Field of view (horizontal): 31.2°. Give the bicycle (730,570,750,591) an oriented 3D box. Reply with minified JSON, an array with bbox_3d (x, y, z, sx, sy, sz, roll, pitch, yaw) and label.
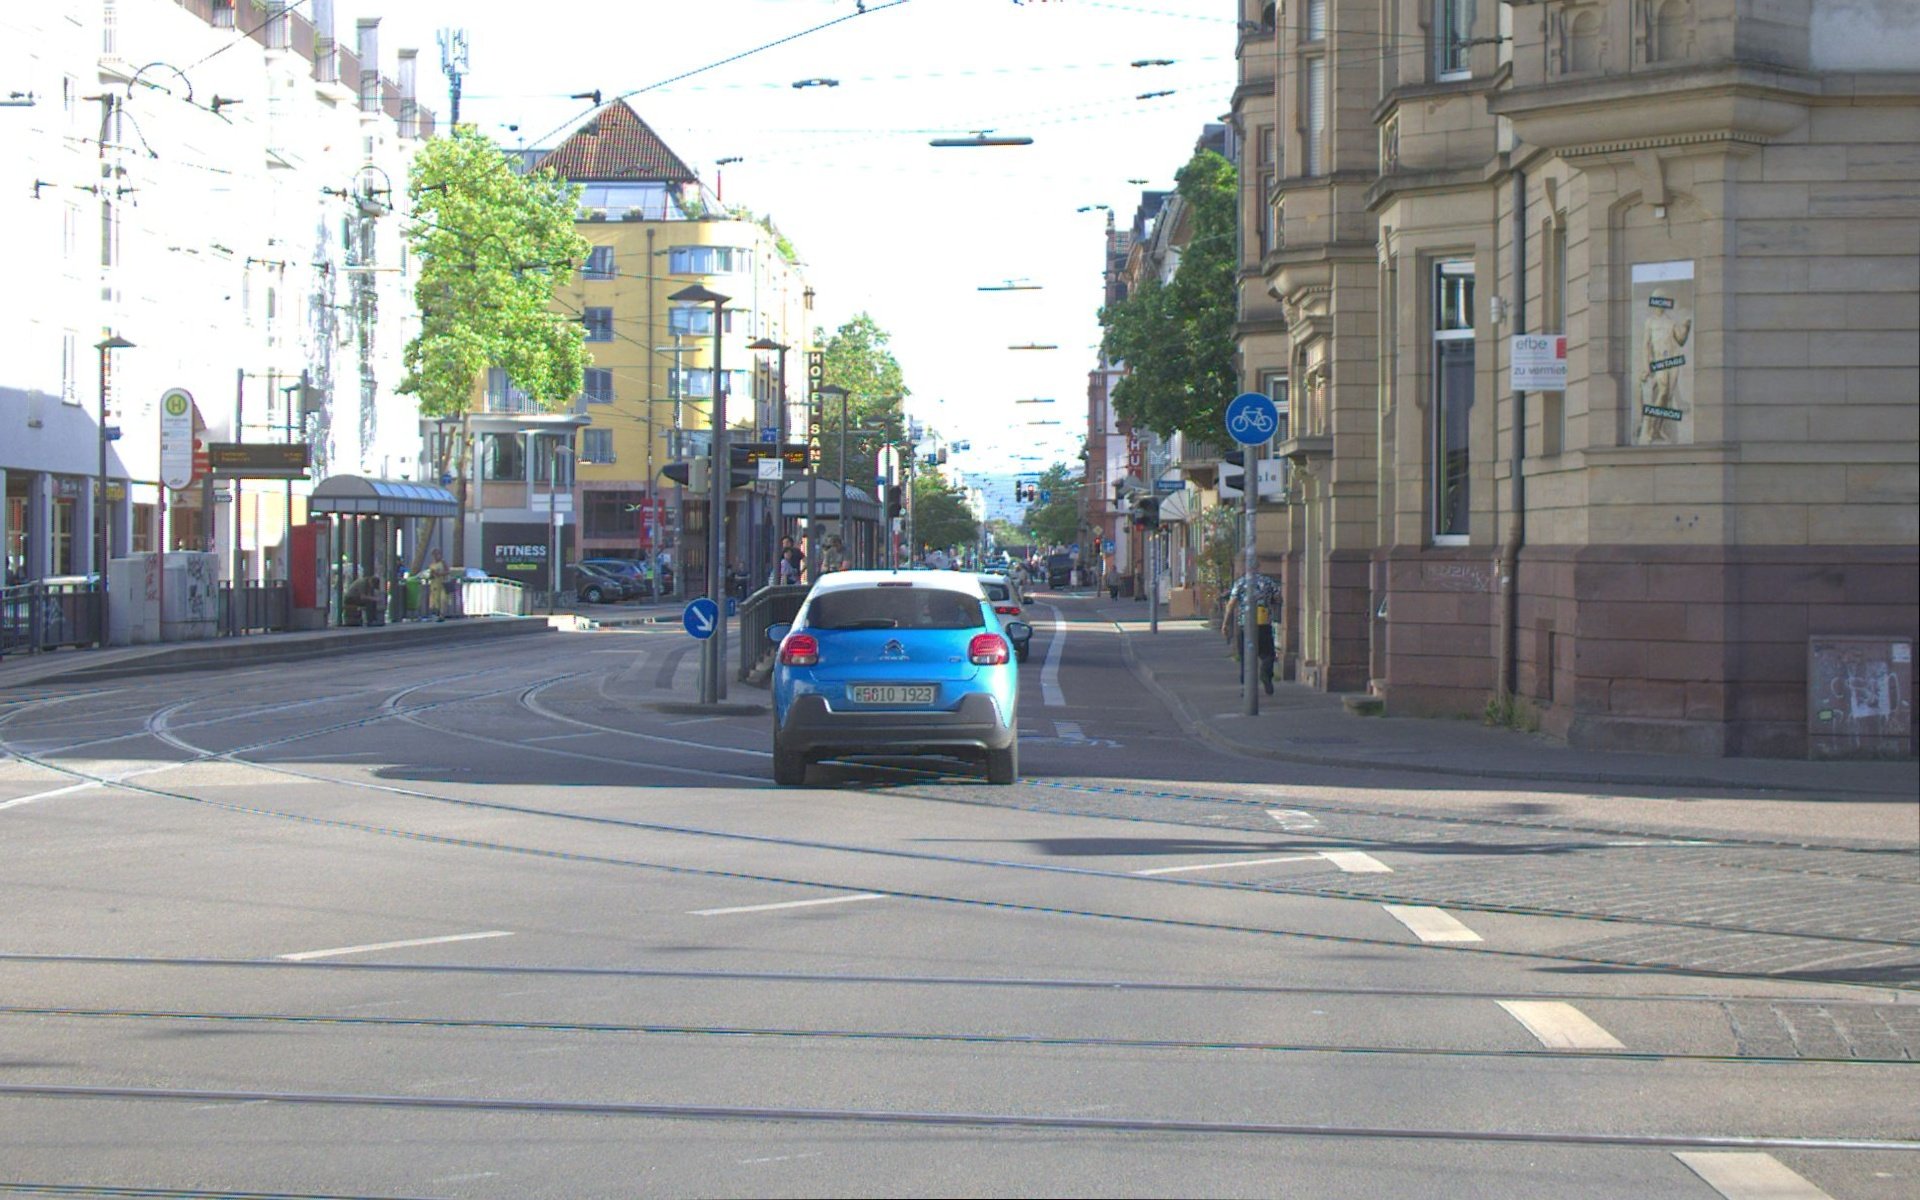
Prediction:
[{"bbox_3d":[-8.875,-0.795,138.830,0.566,0.755,1.937,1,2,3],"label":"bicycle"}]

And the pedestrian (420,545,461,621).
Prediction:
[{"bbox_3d":[-10.834,-0.356,71.742,0.731,1.553,0.743,1,2,1],"label":"pedestrian"}]

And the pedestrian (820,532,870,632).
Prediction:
[{"bbox_3d":[-1.986,-0.312,59.563,0.636,1.692,0.933,2,1,9],"label":"pedestrian"}]

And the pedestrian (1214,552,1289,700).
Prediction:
[{"bbox_3d":[3.582,0.313,42.363,0.780,1.743,1.093,1,3,-1],"label":"pedestrian"}]

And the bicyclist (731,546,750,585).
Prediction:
[{"bbox_3d":[-8.845,-1.397,138.791,0.672,1.551,0.778,1,2,3],"label":"bicyclist"}]

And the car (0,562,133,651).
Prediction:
[{"bbox_3d":[-16.870,0.100,64.253,1.728,1.509,4.405,1,2,1],"label":"car"}]

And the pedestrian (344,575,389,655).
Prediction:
[{"bbox_3d":[-11.610,0.295,67.267,0.731,1.522,0.743,1,2,1],"label":"pedestrian"}]

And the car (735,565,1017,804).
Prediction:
[{"bbox_3d":[-0.532,0.545,24.727,1.781,1.446,3.654,2,2,2],"label":"car"}]

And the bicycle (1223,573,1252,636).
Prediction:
[{"bbox_3d":[5.272,0.078,65.310,0.459,1.119,1.773,-1,2,2],"label":"bicycle"}]

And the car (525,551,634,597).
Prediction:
[{"bbox_3d":[-14.530,-1.004,131.417,3.986,1.668,1.958,1,2,-1],"label":"car"}]

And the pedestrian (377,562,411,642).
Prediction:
[{"bbox_3d":[-14.296,0.046,86.844,0.669,2.007,0.708,2,1,3],"label":"pedestrian"}]

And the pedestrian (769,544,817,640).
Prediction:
[{"bbox_3d":[-3.130,-0.158,64.395,0.718,1.771,0.564,2,2,37],"label":"pedestrian"}]

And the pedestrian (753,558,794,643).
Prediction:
[{"bbox_3d":[-3.458,0.000,63.744,0.586,1.556,0.469,2,2,37],"label":"pedestrian"}]

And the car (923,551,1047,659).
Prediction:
[{"bbox_3d":[0.471,0.060,59.560,1.993,1.736,4.000,2,1,2],"label":"car"}]
